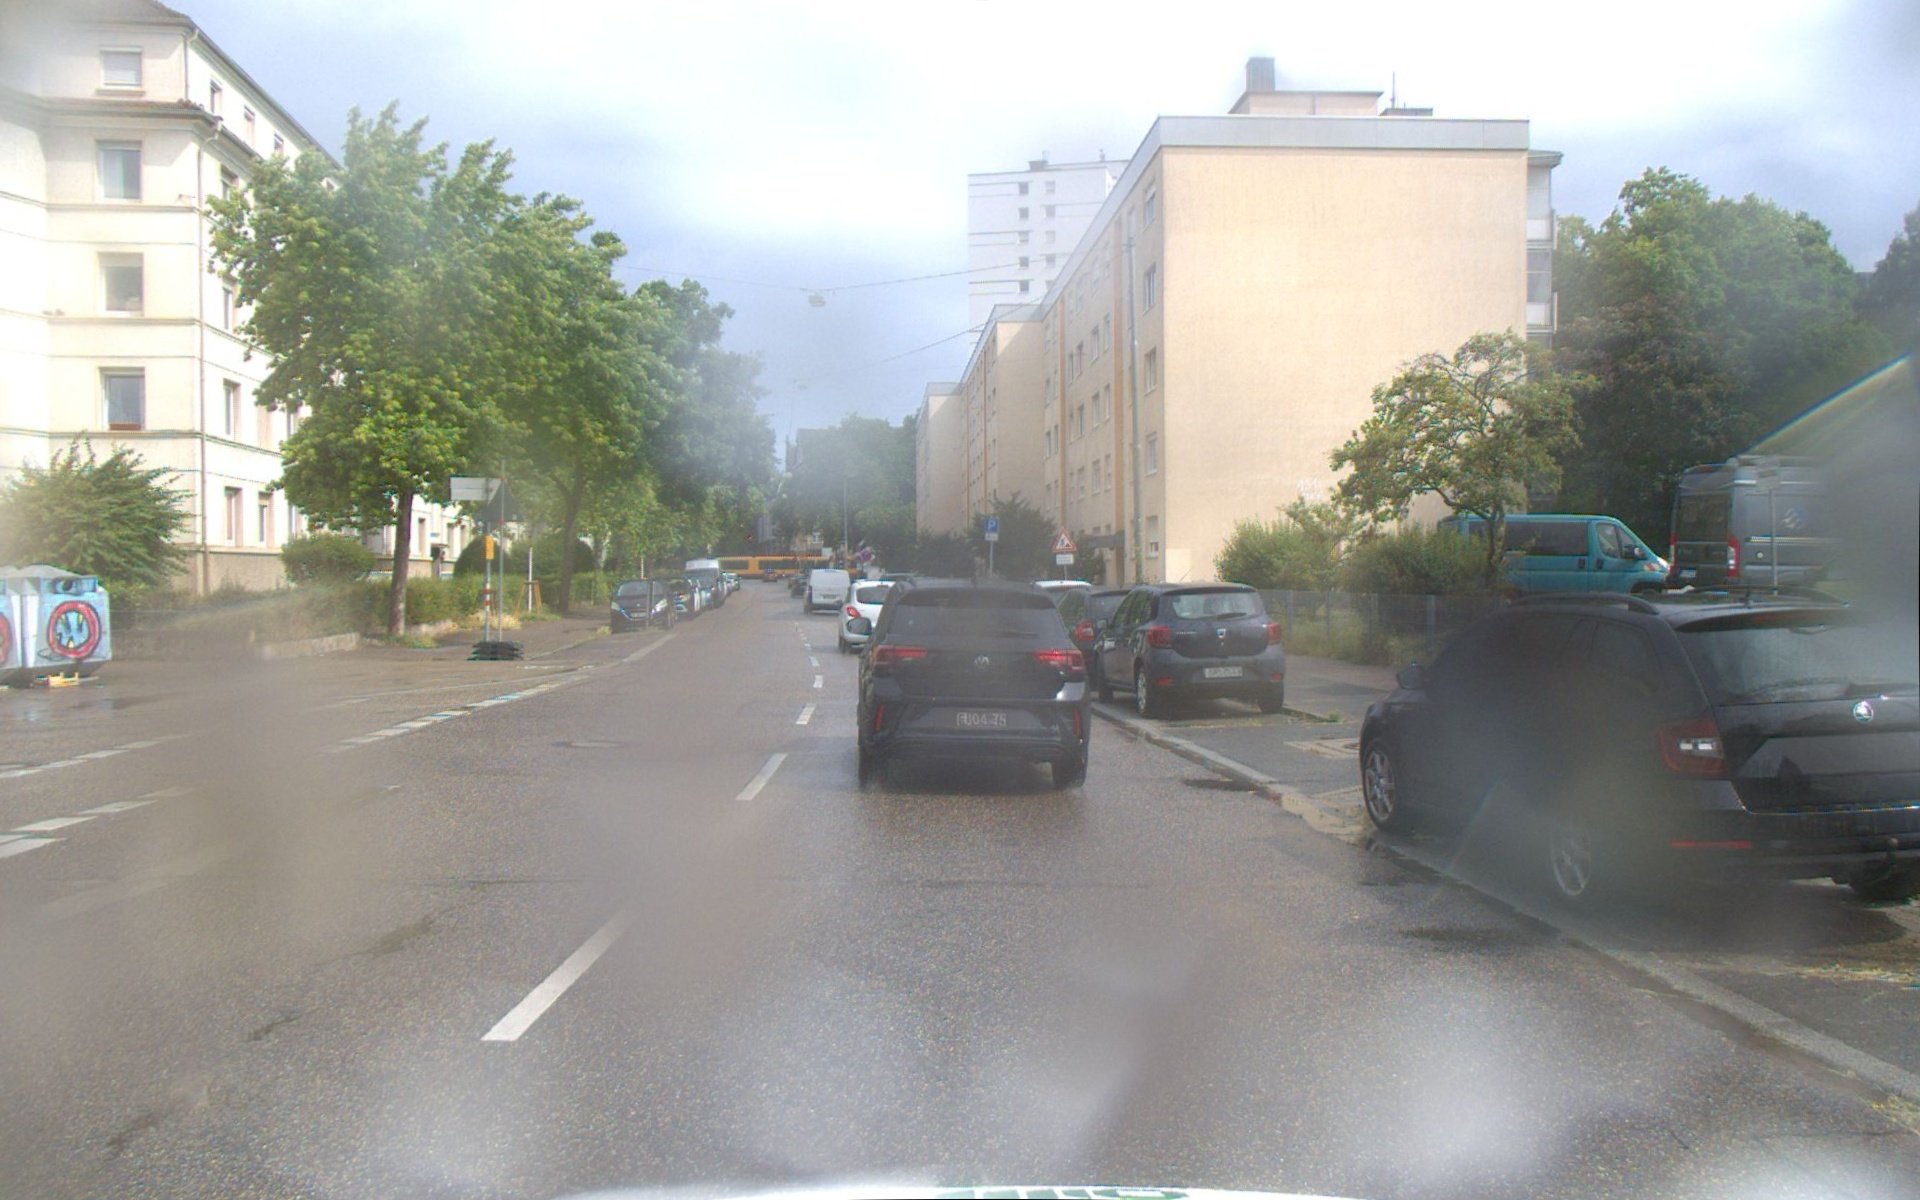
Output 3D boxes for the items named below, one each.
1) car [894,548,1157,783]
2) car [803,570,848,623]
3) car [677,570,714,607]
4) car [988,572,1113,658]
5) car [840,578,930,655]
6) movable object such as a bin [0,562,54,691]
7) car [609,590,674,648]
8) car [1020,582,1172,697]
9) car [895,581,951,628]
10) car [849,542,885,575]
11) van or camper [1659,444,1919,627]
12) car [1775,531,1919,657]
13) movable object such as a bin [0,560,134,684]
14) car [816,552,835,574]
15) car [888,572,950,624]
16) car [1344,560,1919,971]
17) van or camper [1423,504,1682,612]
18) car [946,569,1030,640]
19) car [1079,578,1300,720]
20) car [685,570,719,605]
[{"bbox_3d":[0.399,0.470,14.056,1.836,1.674,4.059,1,0,-3],"label":"car"},{"bbox_3d":[-5.683,-0.141,70.144,1.800,2.139,3.997,1,0,-4],"label":"car"},{"bbox_3d":[-12.489,-0.560,78.170,1.556,1.668,3.914,-2,1,-7],"label":"car"},{"bbox_3d":[1.669,0.301,31.763,1.715,1.534,4.105,0,-1,-7],"label":"car"},{"bbox_3d":[-1.612,0.333,35.446,1.777,1.529,3.998,1,0,-3],"label":"car"},{"bbox_3d":[-13.456,0.368,22.184,1.505,1.703,1.667,-1,2,16],"label":"movable object such as a bin"},{"bbox_3d":[-9.234,0.523,48.207,1.556,1.532,4.058,-2,1,-7],"label":"car"},{"bbox_3d":[1.986,0.540,25.273,1.573,1.534,4.155,-3,1,-5],"label":"car"},{"bbox_3d":[-1.340,0.127,58.719,1.574,1.532,4.026,-2,1,-7],"label":"car"},{"bbox_3d":[-4.903,-2.201,87.547,1.804,1.636,3.674,-2,1,-2],"label":"car"},{"bbox_3d":[13.325,-0.924,24.641,4.897,2.599,2.174,0,0,-2],"label":"van or camper"},{"bbox_3d":[11.992,-0.120,21.010,1.577,1.474,3.417,-1,1,0],"label":"car"},{"bbox_3d":[-13.037,0.293,23.726,1.505,1.691,1.460,-1,2,16],"label":"movable object such as a bin"},{"bbox_3d":[-12.266,-3.348,150.313,1.633,1.870,3.996,-1,1,-5],"label":"car"},{"bbox_3d":[-1.346,-0.093,52.853,1.662,1.565,4.028,-2,1,-6],"label":"car"},{"bbox_3d":[3.611,0.620,8.866,1.739,1.566,4.374,-3,1,-4],"label":"car"},{"bbox_3d":[12.440,-0.882,34.984,4.661,2.168,2.322,0,1,0],"label":"van or camper"},{"bbox_3d":[0.679,0.079,42.903,1.574,1.690,4.026,1,1,-7],"label":"car"},{"bbox_3d":[2.722,0.534,20.539,1.724,1.554,3.993,-1,0,-7],"label":"car"},{"bbox_3d":[-13.055,-0.647,83.886,1.556,1.668,3.914,-2,1,-7],"label":"car"}]
